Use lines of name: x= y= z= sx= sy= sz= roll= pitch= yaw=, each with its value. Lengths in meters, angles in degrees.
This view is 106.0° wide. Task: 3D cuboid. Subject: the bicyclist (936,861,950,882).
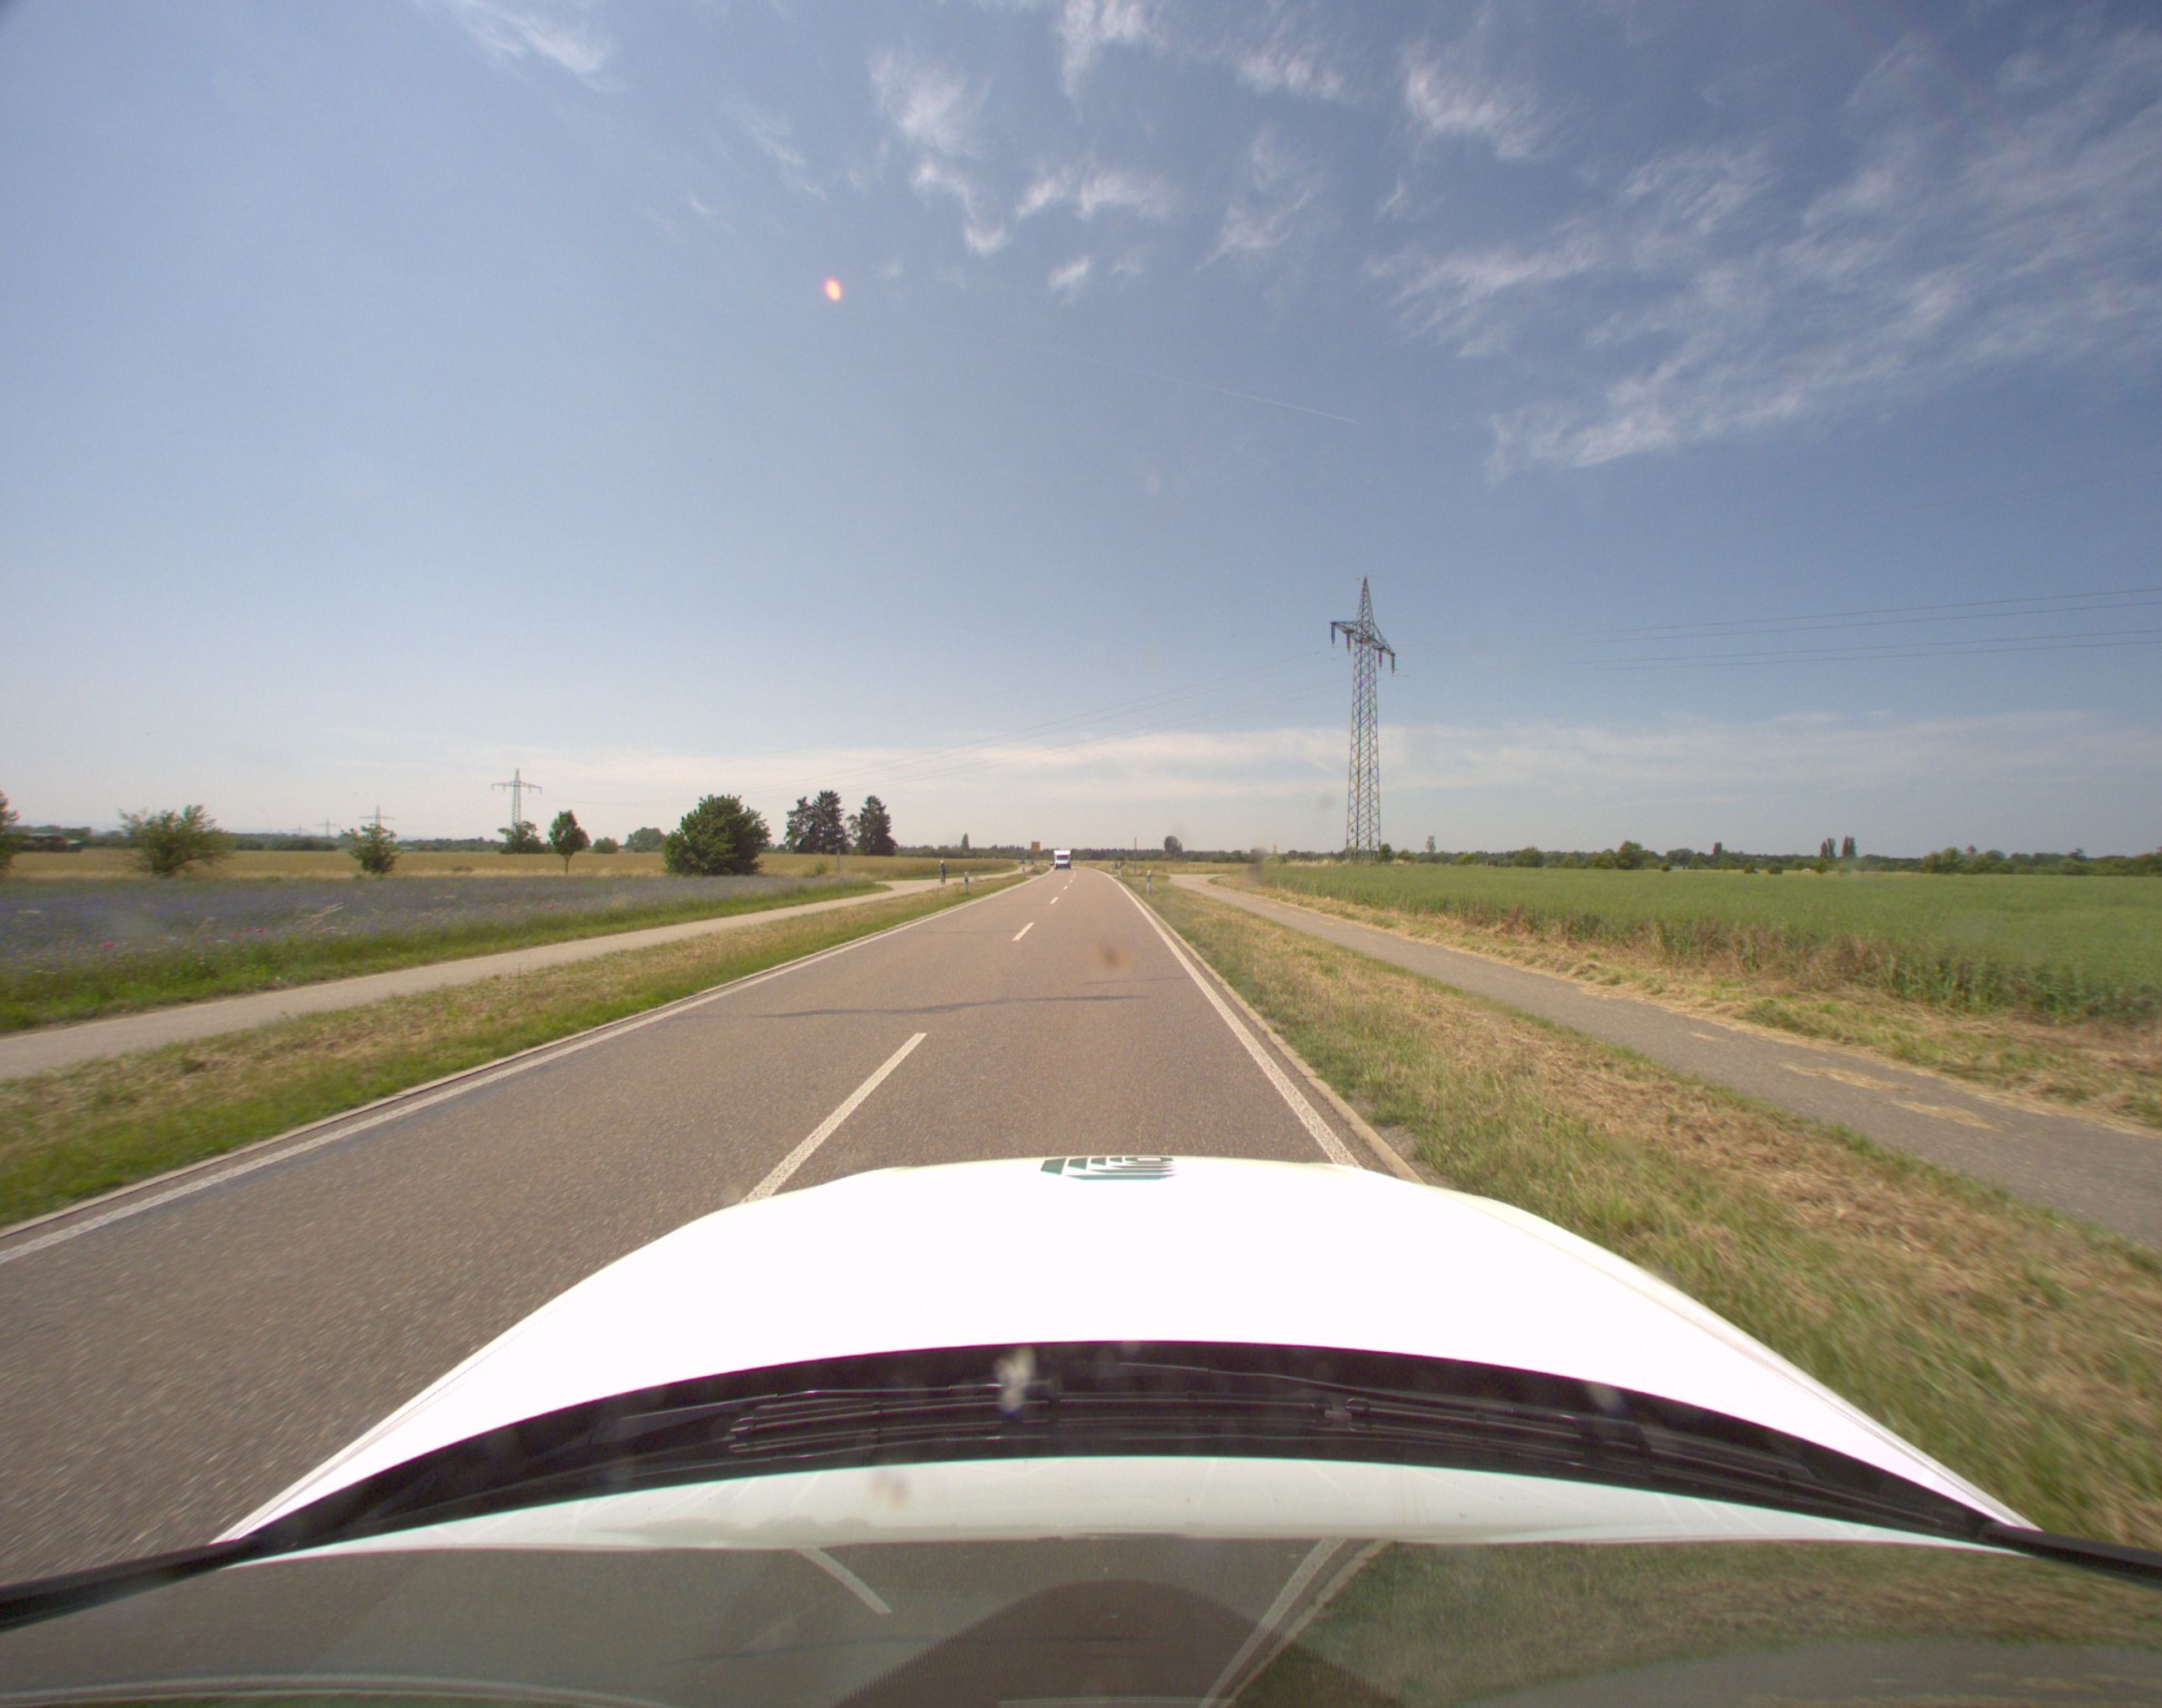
bicyclist: x=-8.658 y=1.108 z=51.220 sx=0.699 sy=1.331 sz=0.965 roll=0 pitch=0 yaw=1

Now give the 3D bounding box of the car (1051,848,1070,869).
car: x=-2.795 y=0.631 z=114.764 sx=2.389 sy=2.847 sz=7.629 roll=0 pitch=0 yaw=1

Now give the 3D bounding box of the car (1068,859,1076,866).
car: x=-1.928 y=1.870 z=177.300 sx=1.618 sy=1.491 sz=3.998 roll=0 pitch=-1 yaw=-1

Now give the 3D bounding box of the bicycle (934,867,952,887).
bicycle: x=-8.659 y=1.435 z=51.173 sx=0.760 sy=1.229 sz=2.216 roll=0 pitch=0 yaw=1

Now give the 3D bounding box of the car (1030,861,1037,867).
car: x=-14.004 y=2.950 z=240.855 sx=1.707 sy=1.586 sz=3.501 roll=-1 pitch=-1 yaw=-1
